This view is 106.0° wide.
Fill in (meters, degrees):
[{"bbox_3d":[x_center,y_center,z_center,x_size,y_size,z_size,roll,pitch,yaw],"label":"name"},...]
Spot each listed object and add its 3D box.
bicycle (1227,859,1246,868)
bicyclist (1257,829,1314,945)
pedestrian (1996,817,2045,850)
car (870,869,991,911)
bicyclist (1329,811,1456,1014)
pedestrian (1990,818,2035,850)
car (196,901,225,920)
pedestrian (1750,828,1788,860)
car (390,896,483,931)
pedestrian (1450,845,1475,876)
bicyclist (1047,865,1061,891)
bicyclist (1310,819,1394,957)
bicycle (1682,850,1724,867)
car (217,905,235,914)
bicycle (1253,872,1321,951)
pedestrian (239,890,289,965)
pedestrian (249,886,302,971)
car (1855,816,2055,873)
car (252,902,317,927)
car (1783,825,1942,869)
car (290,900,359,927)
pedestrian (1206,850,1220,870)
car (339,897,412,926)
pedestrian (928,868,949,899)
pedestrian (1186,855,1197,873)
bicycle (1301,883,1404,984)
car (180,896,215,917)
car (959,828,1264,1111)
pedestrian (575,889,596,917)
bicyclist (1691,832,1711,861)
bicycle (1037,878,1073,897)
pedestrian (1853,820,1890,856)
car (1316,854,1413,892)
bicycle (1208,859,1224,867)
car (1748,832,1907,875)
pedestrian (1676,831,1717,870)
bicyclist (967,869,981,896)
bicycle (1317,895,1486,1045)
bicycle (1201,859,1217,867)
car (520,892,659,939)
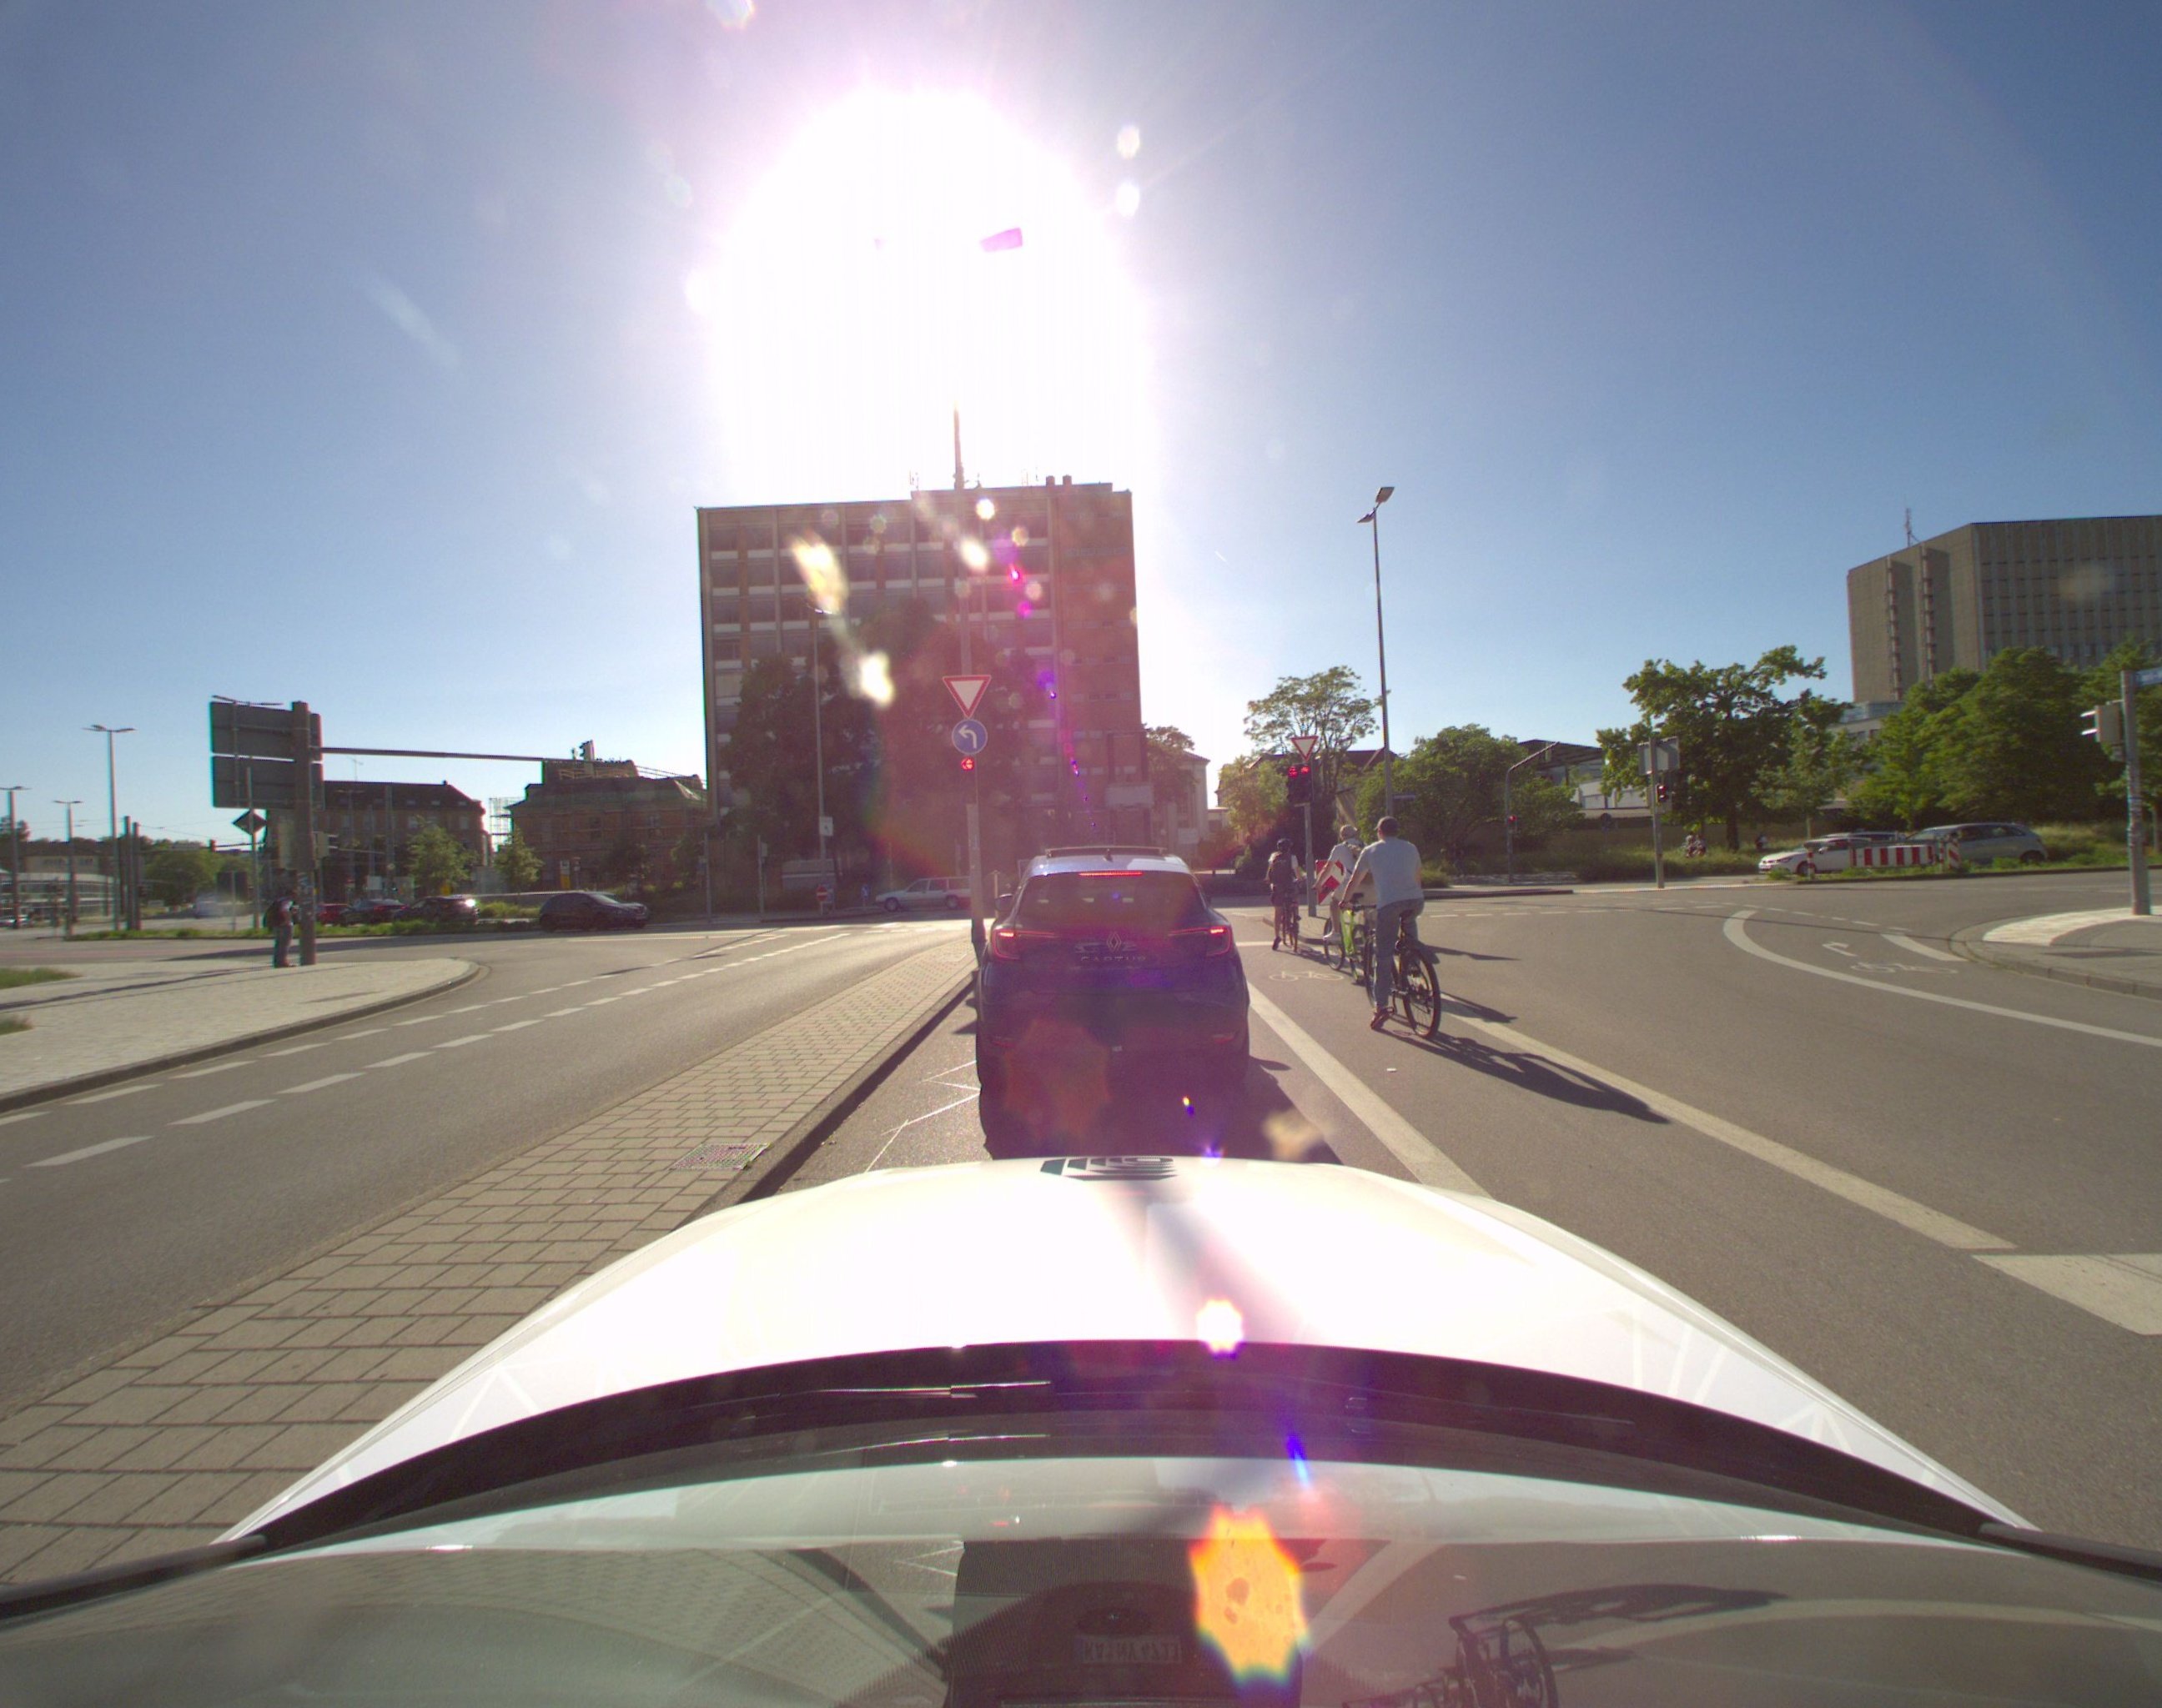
[{"bbox_3d":[15.810,0.949,82.835,1.770,0.823,0.763,-2,-1,-9],"label":"bicycle"},{"bbox_3d":[3.264,0.516,13.061,0.674,1.785,0.939,-1,-1,0],"label":"bicyclist"},{"bbox_3d":[45.364,-0.968,39.344,1.123,1.521,0.992,-2,-1,5],"label":"pedestrian"},{"bbox_3d":[-6.659,1.595,36.329,4.835,1.593,1.943,-2,-1,8],"label":"car"},{"bbox_3d":[2.748,0.490,7.265,0.737,1.674,0.865,-2,-1,0],"label":"bicyclist"},{"bbox_3d":[45.830,-0.962,40.067,1.138,1.521,0.880,-2,-1,5],"label":"pedestrian"},{"bbox_3d":[-103.792,6.743,97.089,4.951,2.013,2.085,-3,-1,40],"label":"car"},{"bbox_3d":[34.498,-0.485,40.862,1.078,1.521,0.933,-2,-1,11],"label":"pedestrian"},{"bbox_3d":[-33.014,3.036,41.735,3.954,1.570,1.845,-3,-1,19],"label":"car"},{"bbox_3d":[20.122,0.352,42.965,0.974,1.604,0.830,-3,-1,15],"label":"pedestrian"},{"bbox_3d":[-1.524,1.359,45.753,0.633,1.412,0.650,-2,-1,7],"label":"bicyclist"},{"bbox_3d":[3.258,0.395,9.878,0.672,1.583,1.081,0,0,1],"label":"bicyclist"},{"bbox_3d":[30.031,0.209,39.358,1.483,0.777,0.571,-3,-1,12],"label":"bicycle"},{"bbox_3d":[-151.203,9.778,143.992,2.078,1.439,4.007,-2,-1,-45],"label":"car"},{"bbox_3d":[3.283,0.878,13.130,0.613,1.138,1.826,-2,0,0],"label":"bicycle"},{"bbox_3d":[-19.233,1.712,19.180,0.627,1.697,0.608,-3,-1,25],"label":"pedestrian"},{"bbox_3d":[-18.206,1.667,18.402,0.673,1.855,0.608,-3,-1,25],"label":"pedestrian"},{"bbox_3d":[28.022,-0.288,26.246,4.103,1.606,1.915,-2,0,7],"label":"car"},{"bbox_3d":[-53.582,4.084,54.765,3.771,1.518,2.012,-3,-1,27],"label":"car"},{"bbox_3d":[32.505,-0.281,34.002,4.479,1.606,2.004,-2,0,7],"label":"car"},{"bbox_3d":[-47.963,3.776,51.649,3.771,1.518,2.012,-3,-1,27],"label":"car"},{"bbox_3d":[13.749,0.607,84.843,1.152,2.013,1.165,-2,-1,2],"label":"pedestrian"},{"bbox_3d":[-42.390,3.449,48.915,3.771,1.518,2.012,-3,-1,27],"label":"car"},{"bbox_3d":[-8.700,1.807,49.689,0.926,1.855,0.809,-3,-1,11],"label":"pedestrian"},{"bbox_3d":[12.620,1.096,93.388,1.144,2.013,0.954,-2,-1,8],"label":"pedestrian"},{"bbox_3d":[3.260,0.915,9.959,0.669,1.050,1.844,0,0,1],"label":"bicycle"},{"bbox_3d":[-115.674,6.833,106.644,6.869,2.547,3.031,-3,-1,42],"label":"car"},{"bbox_3d":[0.216,0.682,6.759,1.788,1.655,3.853,-1,0,1],"label":"car"},{"bbox_3d":[-36.766,3.647,60.434,0.816,2.013,1.021,-3,-1,26],"label":"pedestrian"},{"bbox_3d":[29.961,-0.347,39.373,0.517,1.368,0.578,-2,-1,12],"label":"bicyclist"},{"bbox_3d":[-1.460,1.876,45.752,1.855,0.958,0.625,-2,-1,7],"label":"bicycle"},{"bbox_3d":[39.769,-0.800,40.979,0.955,1.732,0.930,-3,-1,17],"label":"pedestrian"},{"bbox_3d":[12.611,0.859,36.418,3.925,1.491,1.818,-3,-2,15],"label":"car"},{"bbox_3d":[15.703,1.058,94.647,1.764,0.898,0.766,-2,-1,2],"label":"bicycle"},{"bbox_3d":[28.232,0.008,30.935,3.972,1.361,2.005,-3,-2,9],"label":"car"},{"bbox_3d":[31.028,-0.178,41.062,1.288,1.855,0.969,-3,-1,13],"label":"pedestrian"},{"bbox_3d":[-5.807,1.553,44.104,0.648,1.412,0.635,-2,-3,-14],"label":"bicyclist"},{"bbox_3d":[2.775,0.949,7.301,0.745,1.050,1.903,-3,0,1],"label":"bicycle"},{"bbox_3d":[15.559,1.113,99.017,1.764,0.893,0.766,-2,-1,2],"label":"bicycle"},{"bbox_3d":[-17.760,2.222,29.509,3.959,1.389,2.007,-4,-1,13],"label":"car"}]
